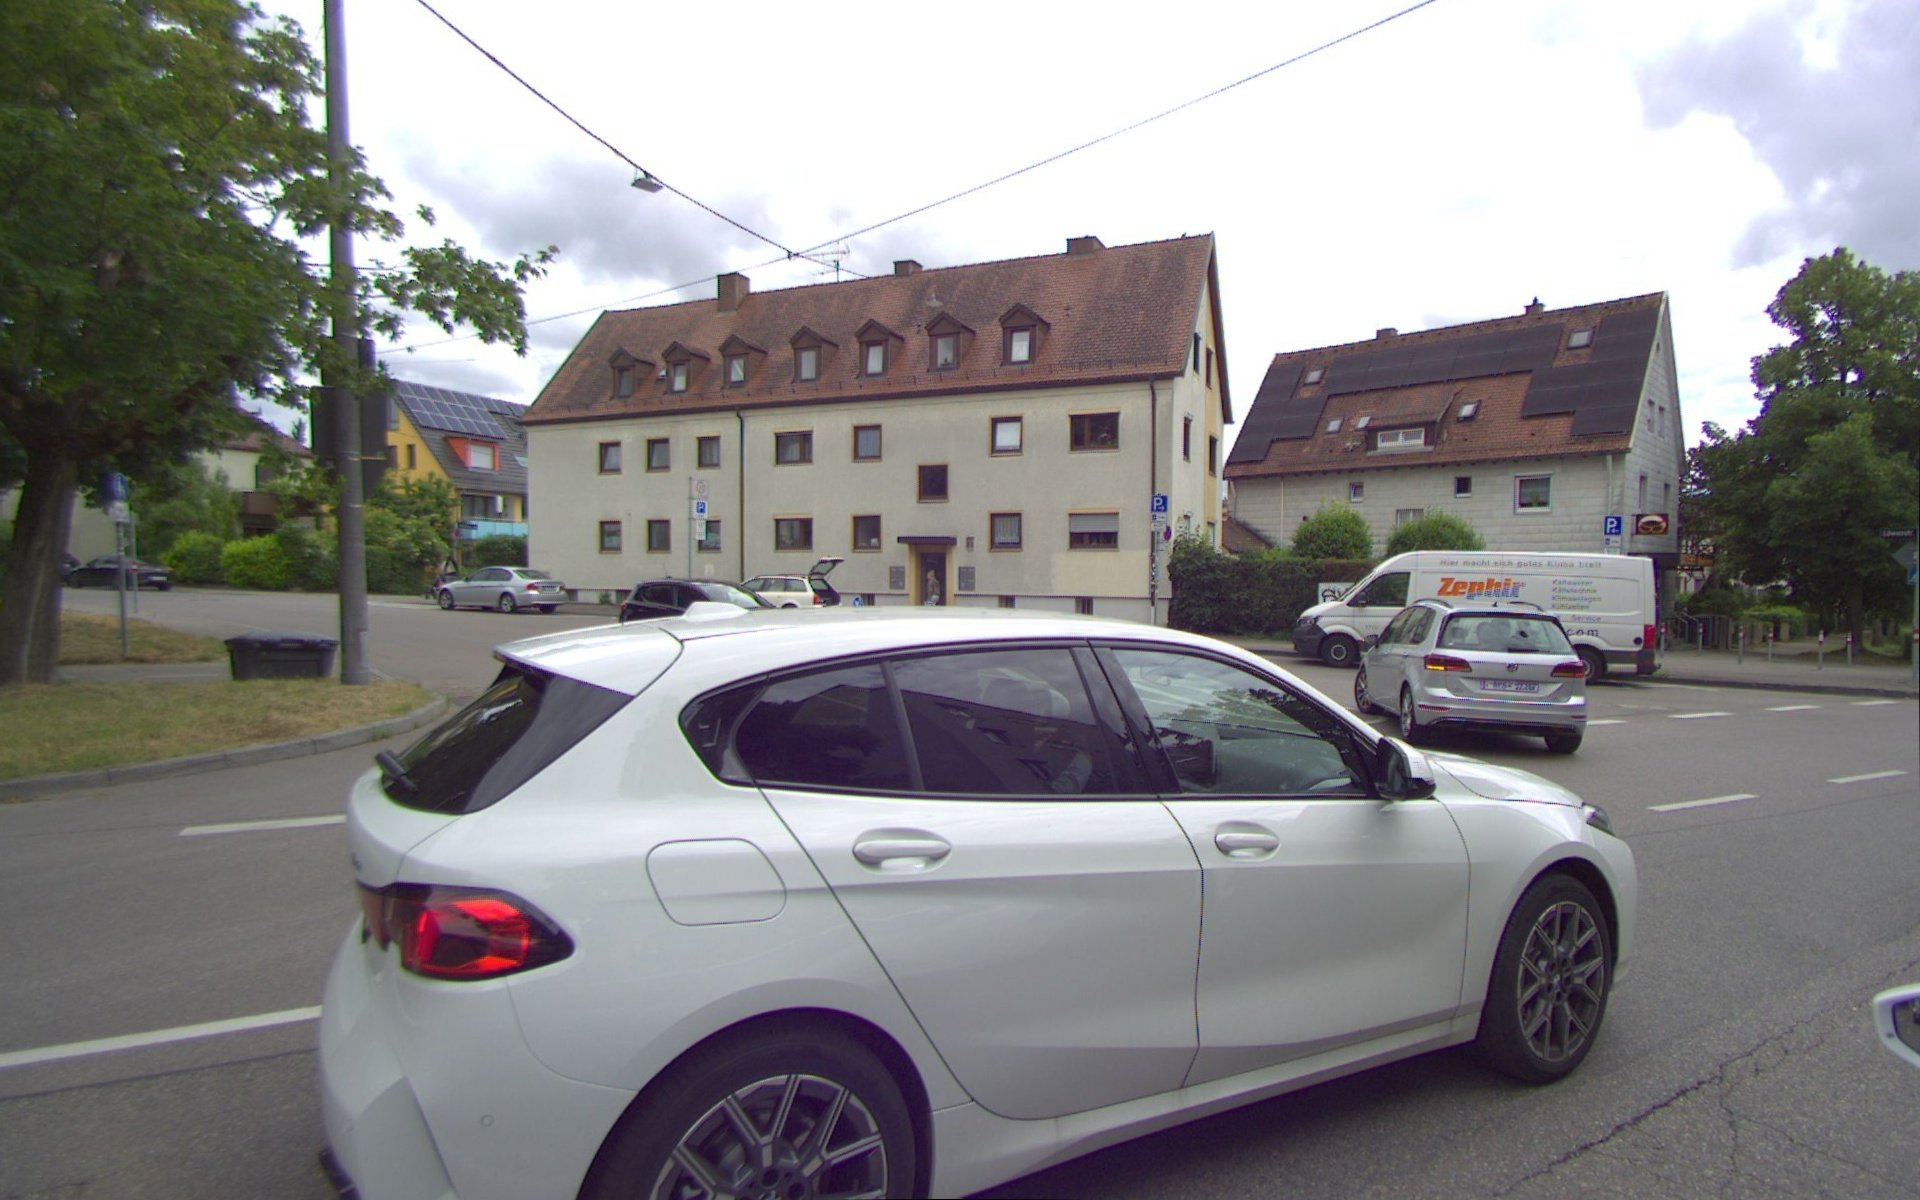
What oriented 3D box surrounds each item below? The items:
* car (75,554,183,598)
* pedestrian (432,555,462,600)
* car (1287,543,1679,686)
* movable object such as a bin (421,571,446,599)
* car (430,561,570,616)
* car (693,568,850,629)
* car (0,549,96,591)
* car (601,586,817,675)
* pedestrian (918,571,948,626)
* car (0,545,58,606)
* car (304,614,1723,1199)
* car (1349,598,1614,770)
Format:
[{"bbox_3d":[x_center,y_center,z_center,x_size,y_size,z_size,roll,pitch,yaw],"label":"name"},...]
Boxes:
[{"bbox_3d":[-33.215,-0.995,40.146,3.816,1.556,1.801,4,4,24],"label":"car"},{"bbox_3d":[-19.349,-0.871,37.906,0.767,1.655,0.681,4,4,26],"label":"pedestrian"},{"bbox_3d":[10.573,0.148,21.024,6.847,2.556,2.083,3,4,23],"label":"car"},{"bbox_3d":[-20.061,-0.595,38.277,0.862,1.010,0.403,4,4,26],"label":"movable object such as a bin"},{"bbox_3d":[-14.611,-0.362,31.880,4.153,1.554,1.682,3,1,24],"label":"car"},{"bbox_3d":[-5.513,-0.096,29.374,4.232,1.460,1.721,3,4,21],"label":"car"},{"bbox_3d":[-38.659,-1.288,42.426,3.816,1.556,1.801,4,4,24],"label":"car"},{"bbox_3d":[-4.726,0.505,18.803,3.929,1.355,1.640,2,4,31],"label":"car"},{"bbox_3d":[-0.791,-0.064,29.844,0.702,1.555,0.749,2,4,10],"label":"pedestrian"},{"bbox_3d":[-31.035,-0.838,31.992,3.922,1.774,1.781,3,4,21],"label":"car"},{"bbox_3d":[0.419,0.870,3.276,4.157,1.538,1.787,1,1,-30],"label":"car"},{"bbox_3d":[5.984,0.828,12.087,1.890,1.595,4.001,1,1,14],"label":"car"}]
